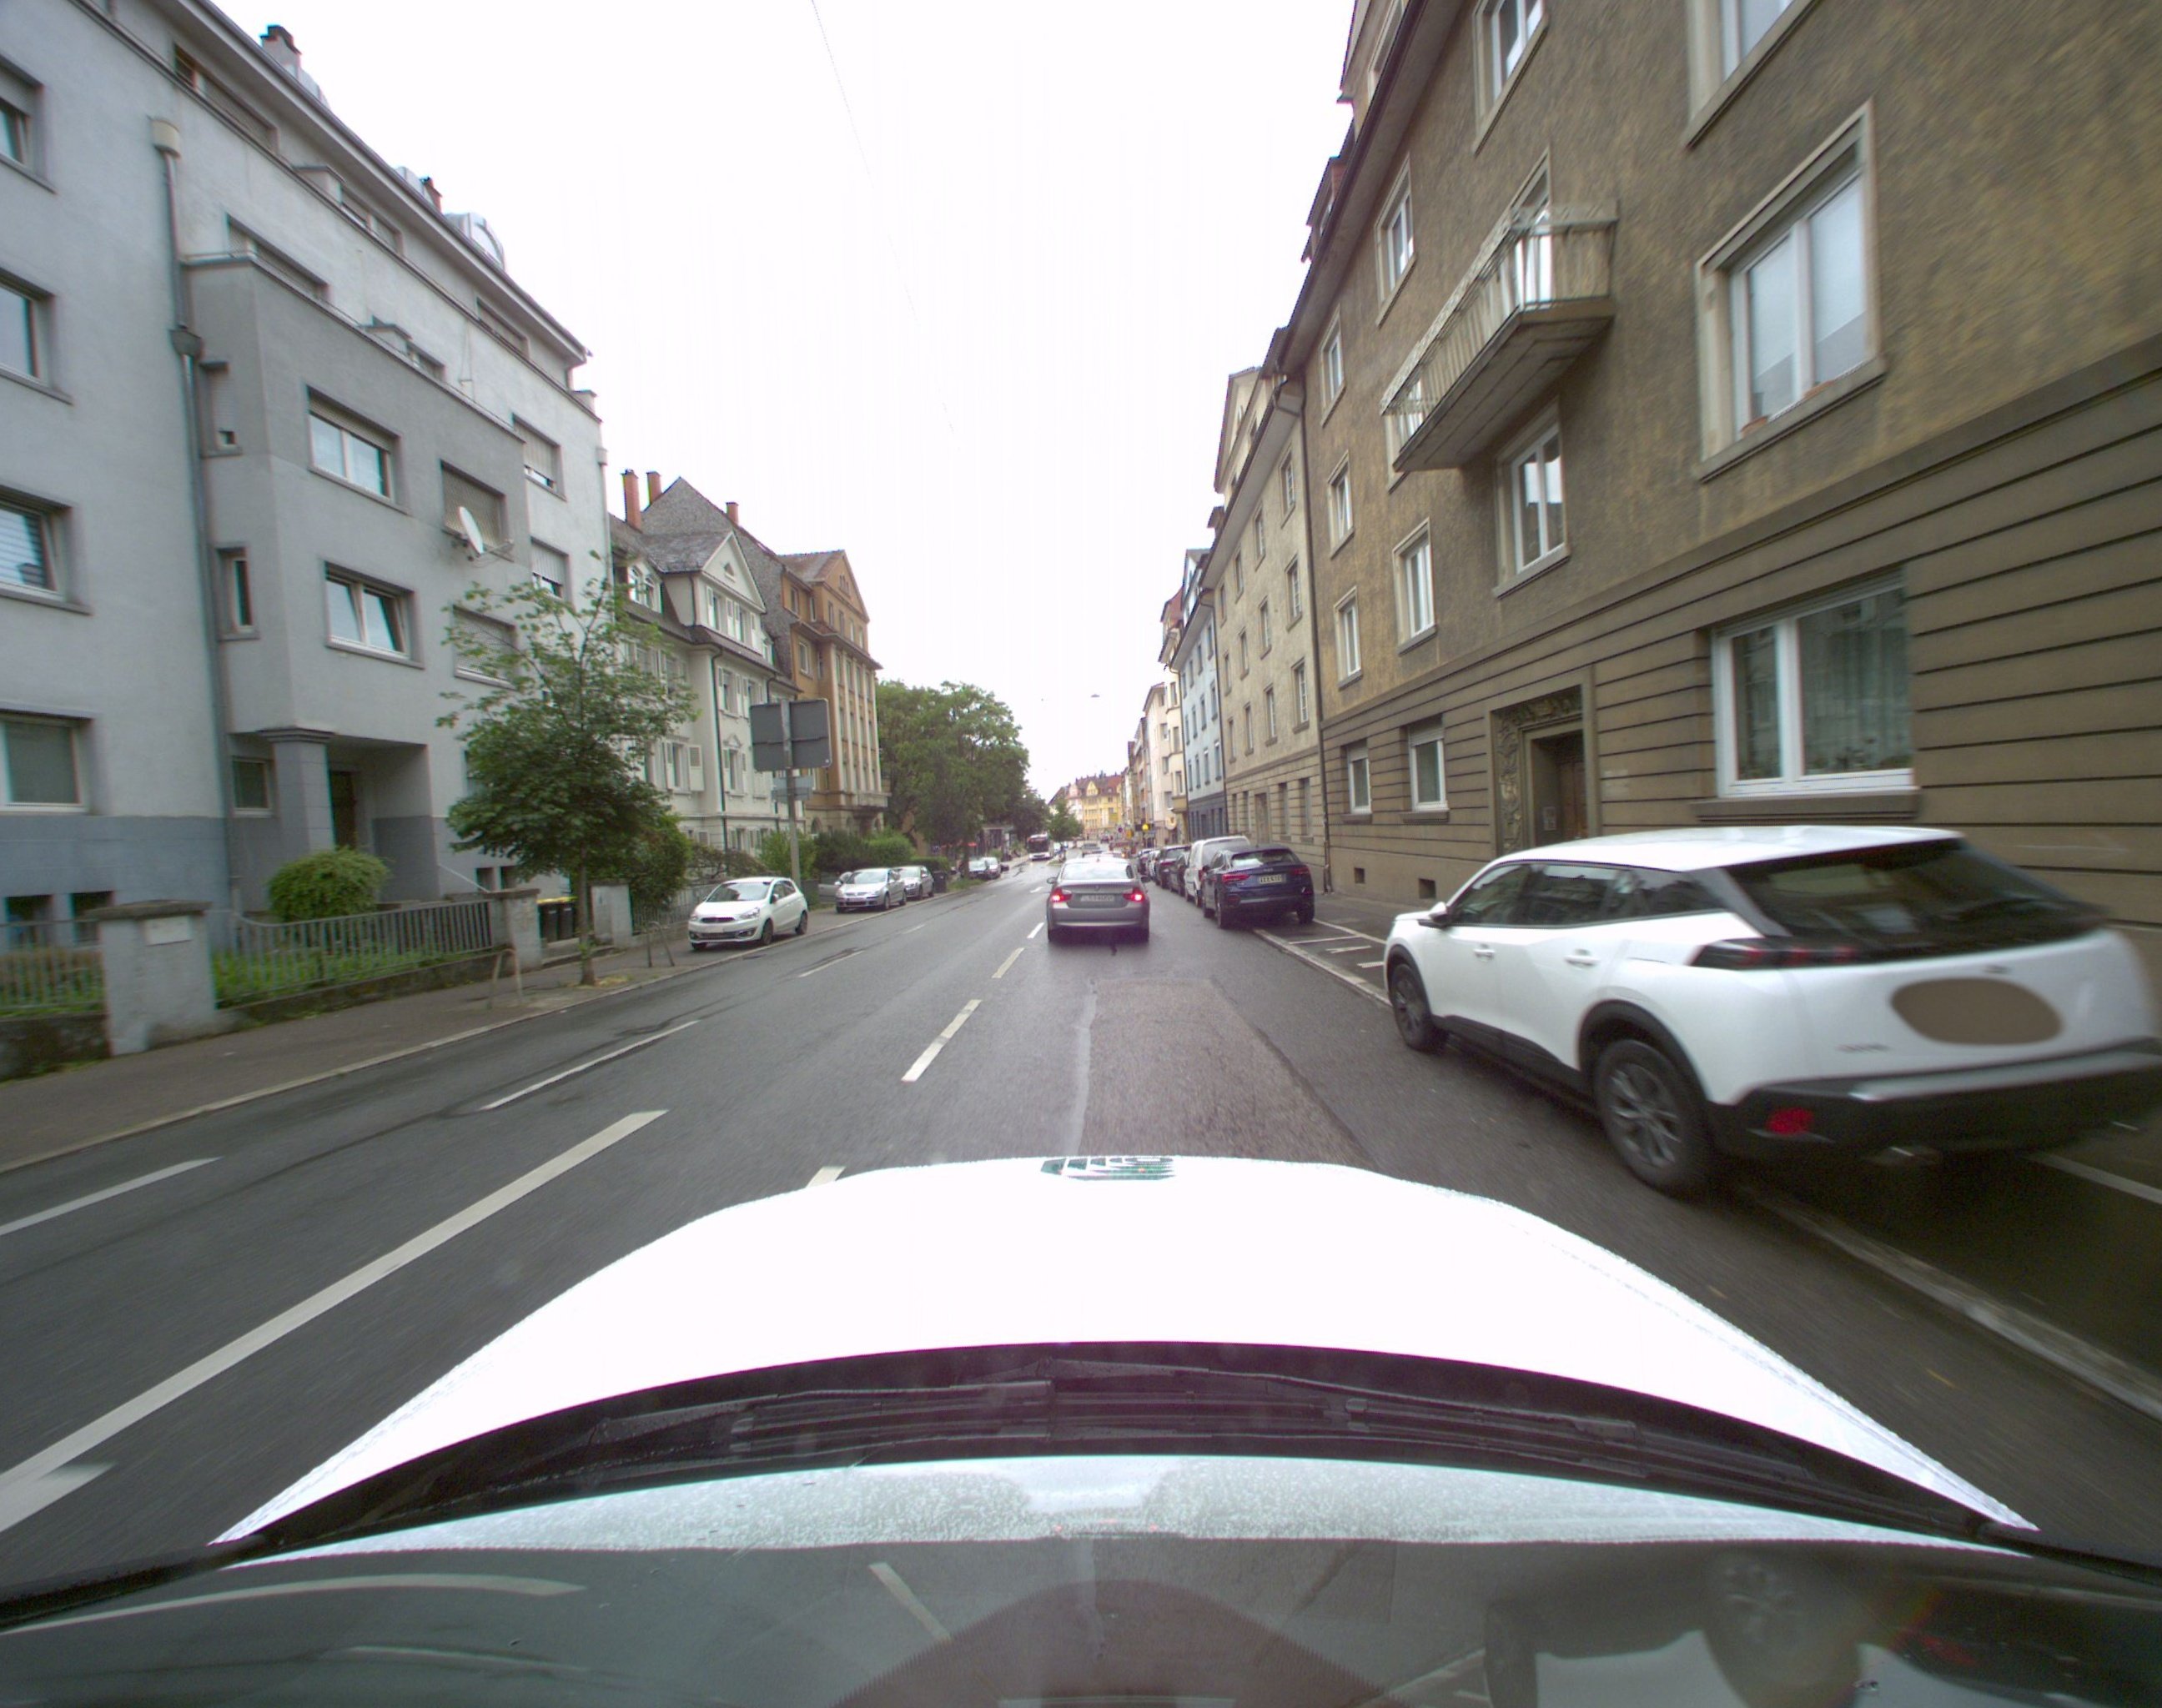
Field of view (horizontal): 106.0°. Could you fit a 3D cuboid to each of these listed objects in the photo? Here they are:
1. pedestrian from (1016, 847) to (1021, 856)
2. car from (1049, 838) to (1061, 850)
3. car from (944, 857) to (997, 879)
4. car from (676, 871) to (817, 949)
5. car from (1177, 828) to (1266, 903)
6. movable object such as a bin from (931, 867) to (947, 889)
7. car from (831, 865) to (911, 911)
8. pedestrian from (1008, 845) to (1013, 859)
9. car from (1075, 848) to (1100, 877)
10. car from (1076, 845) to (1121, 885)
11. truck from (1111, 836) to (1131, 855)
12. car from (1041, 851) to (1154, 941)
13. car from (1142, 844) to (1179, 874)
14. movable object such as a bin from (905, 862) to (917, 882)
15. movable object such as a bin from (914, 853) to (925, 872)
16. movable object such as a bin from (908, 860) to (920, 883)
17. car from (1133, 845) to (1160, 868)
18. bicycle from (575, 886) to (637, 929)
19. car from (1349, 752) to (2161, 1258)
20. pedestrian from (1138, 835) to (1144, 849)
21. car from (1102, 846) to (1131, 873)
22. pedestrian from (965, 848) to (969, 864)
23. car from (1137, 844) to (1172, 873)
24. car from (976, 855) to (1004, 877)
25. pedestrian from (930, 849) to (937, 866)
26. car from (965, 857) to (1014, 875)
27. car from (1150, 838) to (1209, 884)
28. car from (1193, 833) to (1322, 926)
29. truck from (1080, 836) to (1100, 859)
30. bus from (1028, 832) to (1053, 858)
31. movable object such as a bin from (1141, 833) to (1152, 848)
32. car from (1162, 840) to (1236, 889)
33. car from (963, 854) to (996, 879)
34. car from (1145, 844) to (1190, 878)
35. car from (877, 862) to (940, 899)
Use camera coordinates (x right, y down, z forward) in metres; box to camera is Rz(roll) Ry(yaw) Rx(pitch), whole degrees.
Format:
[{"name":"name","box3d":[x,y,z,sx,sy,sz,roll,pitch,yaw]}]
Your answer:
[{"name":"pedestrian","box3d":[-9.070,-0.355,118.017,0.617,1.378,0.545,-1,-1,2]},{"name":"car","box3d":[-4.609,-1.702,143.996,1.987,2.014,4.000,-1,-1,0]},{"name":"car","box3d":[-8.735,1.111,64.467,3.799,1.389,1.745,-4,2,3]},{"name":"car","box3d":[-7.673,1.222,19.080,1.640,1.508,3.796,-3,0,0]},{"name":"car","box3d":[3.886,0.279,23.184,1.784,1.817,4.081,-5,0,1]},{"name":"movable object such as a bin","box3d":[-7.009,1.170,40.241,0.627,1.058,0.600,-4,-1,1]},{"name":"car","box3d":[-7.444,1.178,29.260,1.676,1.390,3.911,-2,0,2]},{"name":"pedestrian","box3d":[-8.883,-0.256,102.551,0.542,1.709,0.465,-1,-1,-6]},{"name":"car","box3d":[0.440,0.600,57.842,1.700,2.014,3.998,-1,-1,-1]},{"name":"car","box3d":[0.612,0.404,31.176,1.597,1.420,3.286,-1,0,-1]},{"name":"truck","box3d":[4.629,-0.931,94.666,2.207,2.116,4.653,0,0,1]},{"name":"car","box3d":[0.301,0.678,14.526,1.749,1.362,3.165,-2,-1,1]},{"name":"car","box3d":[4.335,0.265,44.868,1.577,1.429,3.596,-6,0,1]},{"name":"movable object such as a bin","box3d":[-9.573,1.016,45.828,0.438,1.039,0.650,-4,0,0]},{"name":"movable object such as a bin","box3d":[-9.567,0.496,48.268,0.425,1.040,0.650,-4,0,0]},{"name":"movable object such as a bin","box3d":[-9.549,0.996,46.549,0.438,1.308,0.650,-4,0,0]},{"name":"car","box3d":[4.615,0.175,57.921,1.563,1.464,4.091,-5,0,2]},{"name":"bicycle","box3d":[-13.411,1.514,22.999,1.416,1.089,0.484,-3,0,1]},{"name":"car","box3d":[3.236,0.525,5.006,1.627,1.638,4.194,-6,0,0]},{"name":"pedestrian","box3d":[7.297,-1.420,98.981,0.747,1.661,0.755,-1,-1,2]},{"name":"car","box3d":[1.848,0.302,42.550,1.430,1.356,3.764,-1,0,3]},{"name":"pedestrian","box3d":[-13.499,0.225,96.168,0.464,1.790,0.543,-1,-1,-6]},{"name":"car","box3d":[4.572,0.257,51.159,1.811,1.557,4.295,-5,0,2]},{"name":"car","box3d":[-6.550,0.836,59.016,1.628,1.454,3.836,-3,0,-2]},{"name":"pedestrian","box3d":[-16.319,0.350,90.223,0.633,1.816,0.636,-4,1,-10]},{"name":"car","box3d":[-7.563,0.980,67.302,3.803,1.390,1.742,-2,-1,0]},{"name":"car","box3d":[4.000,0.280,33.686,1.835,1.621,4.208,-5,0,0]},{"name":"car","box3d":[3.501,0.444,16.957,1.784,1.548,4.228,-5,0,2]},{"name":"truck","box3d":[0.993,-0.682,90.042,2.209,2.544,4.779,-1,-1,0]},{"name":"bus","box3d":[-5.303,-1.112,108.101,2.672,3.200,11.955,-1,0,0]},{"name":"movable object such as a bin","box3d":[8.189,-1.698,101.759,1.119,1.702,1.433,-4,-1,-1]},{"name":"car","box3d":[4.043,0.336,28.565,1.835,1.409,4.387,-6,0,0]},{"name":"car","box3d":[-6.748,0.814,54.494,1.648,1.454,3.941,-3,0,0]},{"name":"car","box3d":[4.249,0.307,40.430,1.723,1.429,3.974,-6,0,1]},{"name":"car","box3d":[-7.364,1.110,35.113,1.676,1.390,3.938,-1,0,2]}]
